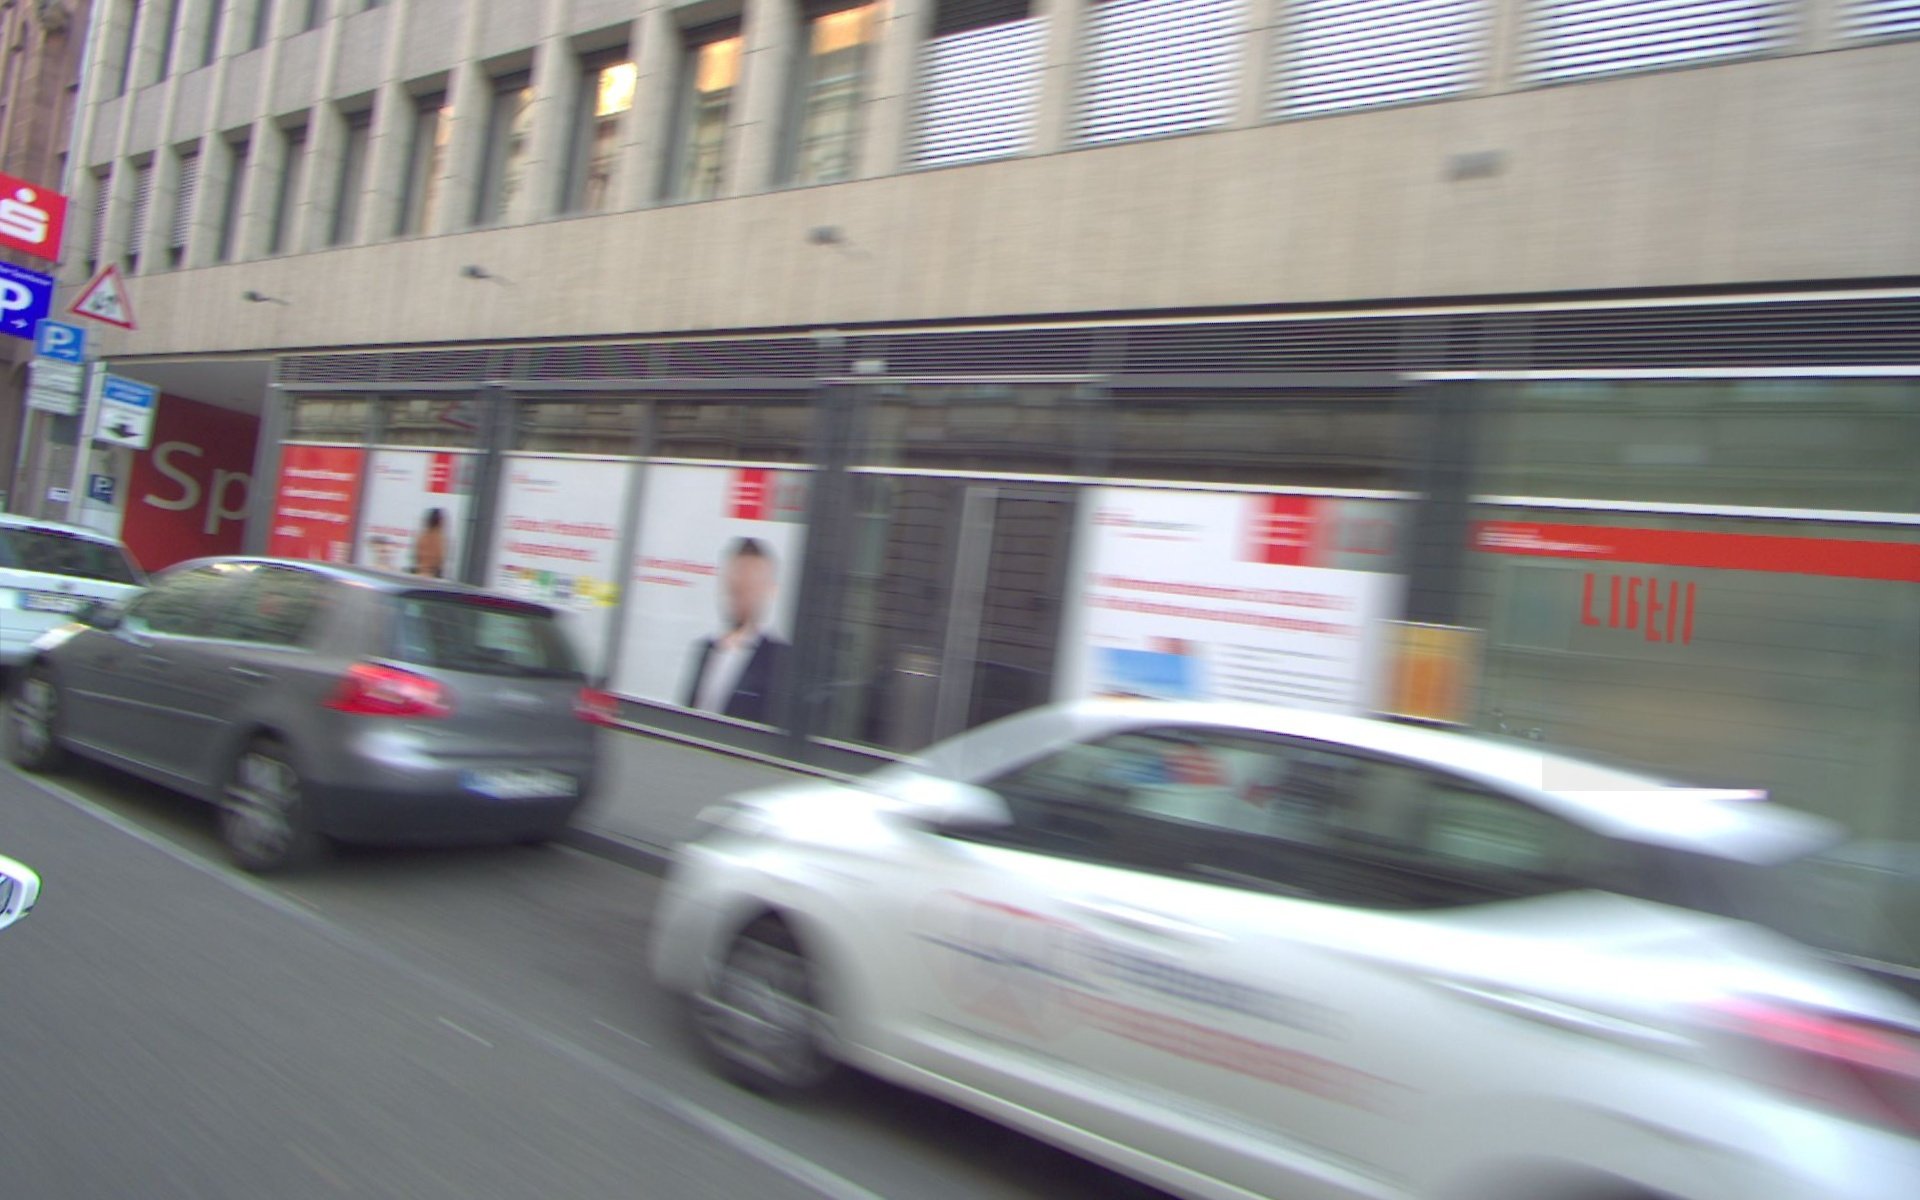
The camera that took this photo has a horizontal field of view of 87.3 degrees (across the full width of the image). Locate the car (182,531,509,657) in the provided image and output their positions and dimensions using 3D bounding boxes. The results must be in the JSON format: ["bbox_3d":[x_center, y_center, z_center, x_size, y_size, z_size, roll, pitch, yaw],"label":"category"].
[{"bbox_3d":[-10.516,-0.021,17.616,1.884,1.517,4.416,6,-4,29],"label":"car"}]

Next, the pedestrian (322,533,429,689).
[{"bbox_3d":[-6.568,0.130,11.314,0.639,1.655,0.649,7,0,29],"label":"pedestrian"}]

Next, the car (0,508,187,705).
[{"bbox_3d":[-9.056,-0.118,9.081,4.235,1.463,1.662,6,-4,30],"label":"car"}]

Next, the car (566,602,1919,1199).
[{"bbox_3d":[0.689,1.009,3.417,3.805,1.463,1.661,6,-4,31],"label":"car"}]

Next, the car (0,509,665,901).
[{"bbox_3d":[-4.061,0.438,6.039,4.369,1.463,1.662,6,-4,29],"label":"car"}]
